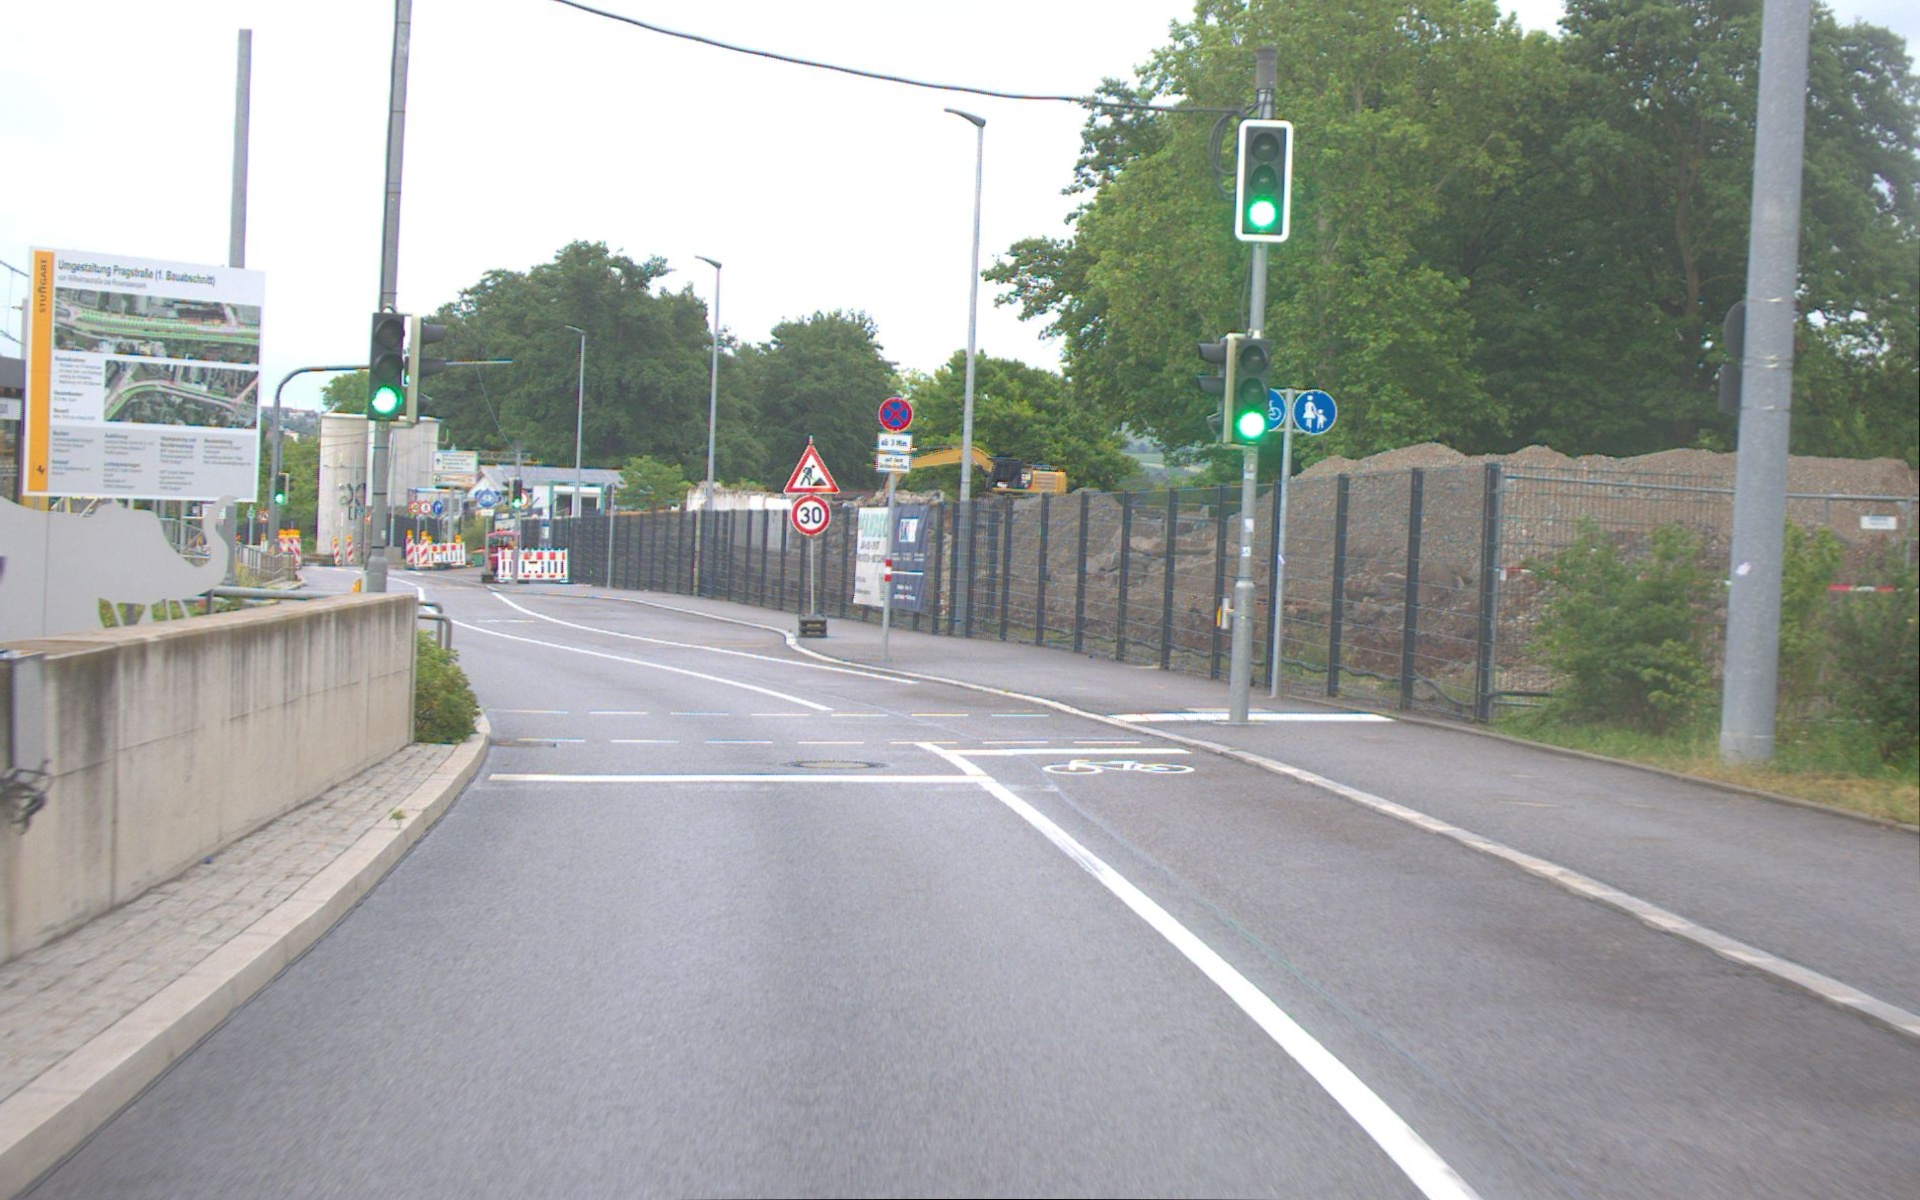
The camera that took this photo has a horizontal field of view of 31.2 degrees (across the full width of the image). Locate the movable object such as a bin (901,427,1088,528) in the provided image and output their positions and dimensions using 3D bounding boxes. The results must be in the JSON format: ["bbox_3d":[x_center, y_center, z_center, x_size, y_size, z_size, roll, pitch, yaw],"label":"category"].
[{"bbox_3d":[2.088,-7.499,211.953,11.229,5.975,3.492,1,0,-5],"label":"movable object such as a bin"}]

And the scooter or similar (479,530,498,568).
[{"bbox_3d":[-16.952,-1.852,123.568,0.615,1.347,1.912,1,1,-7],"label":"scooter or similar"}]

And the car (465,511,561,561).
[{"bbox_3d":[-16.837,-2.406,129.630,1.821,1.787,4.405,2,1,18],"label":"car"}]
